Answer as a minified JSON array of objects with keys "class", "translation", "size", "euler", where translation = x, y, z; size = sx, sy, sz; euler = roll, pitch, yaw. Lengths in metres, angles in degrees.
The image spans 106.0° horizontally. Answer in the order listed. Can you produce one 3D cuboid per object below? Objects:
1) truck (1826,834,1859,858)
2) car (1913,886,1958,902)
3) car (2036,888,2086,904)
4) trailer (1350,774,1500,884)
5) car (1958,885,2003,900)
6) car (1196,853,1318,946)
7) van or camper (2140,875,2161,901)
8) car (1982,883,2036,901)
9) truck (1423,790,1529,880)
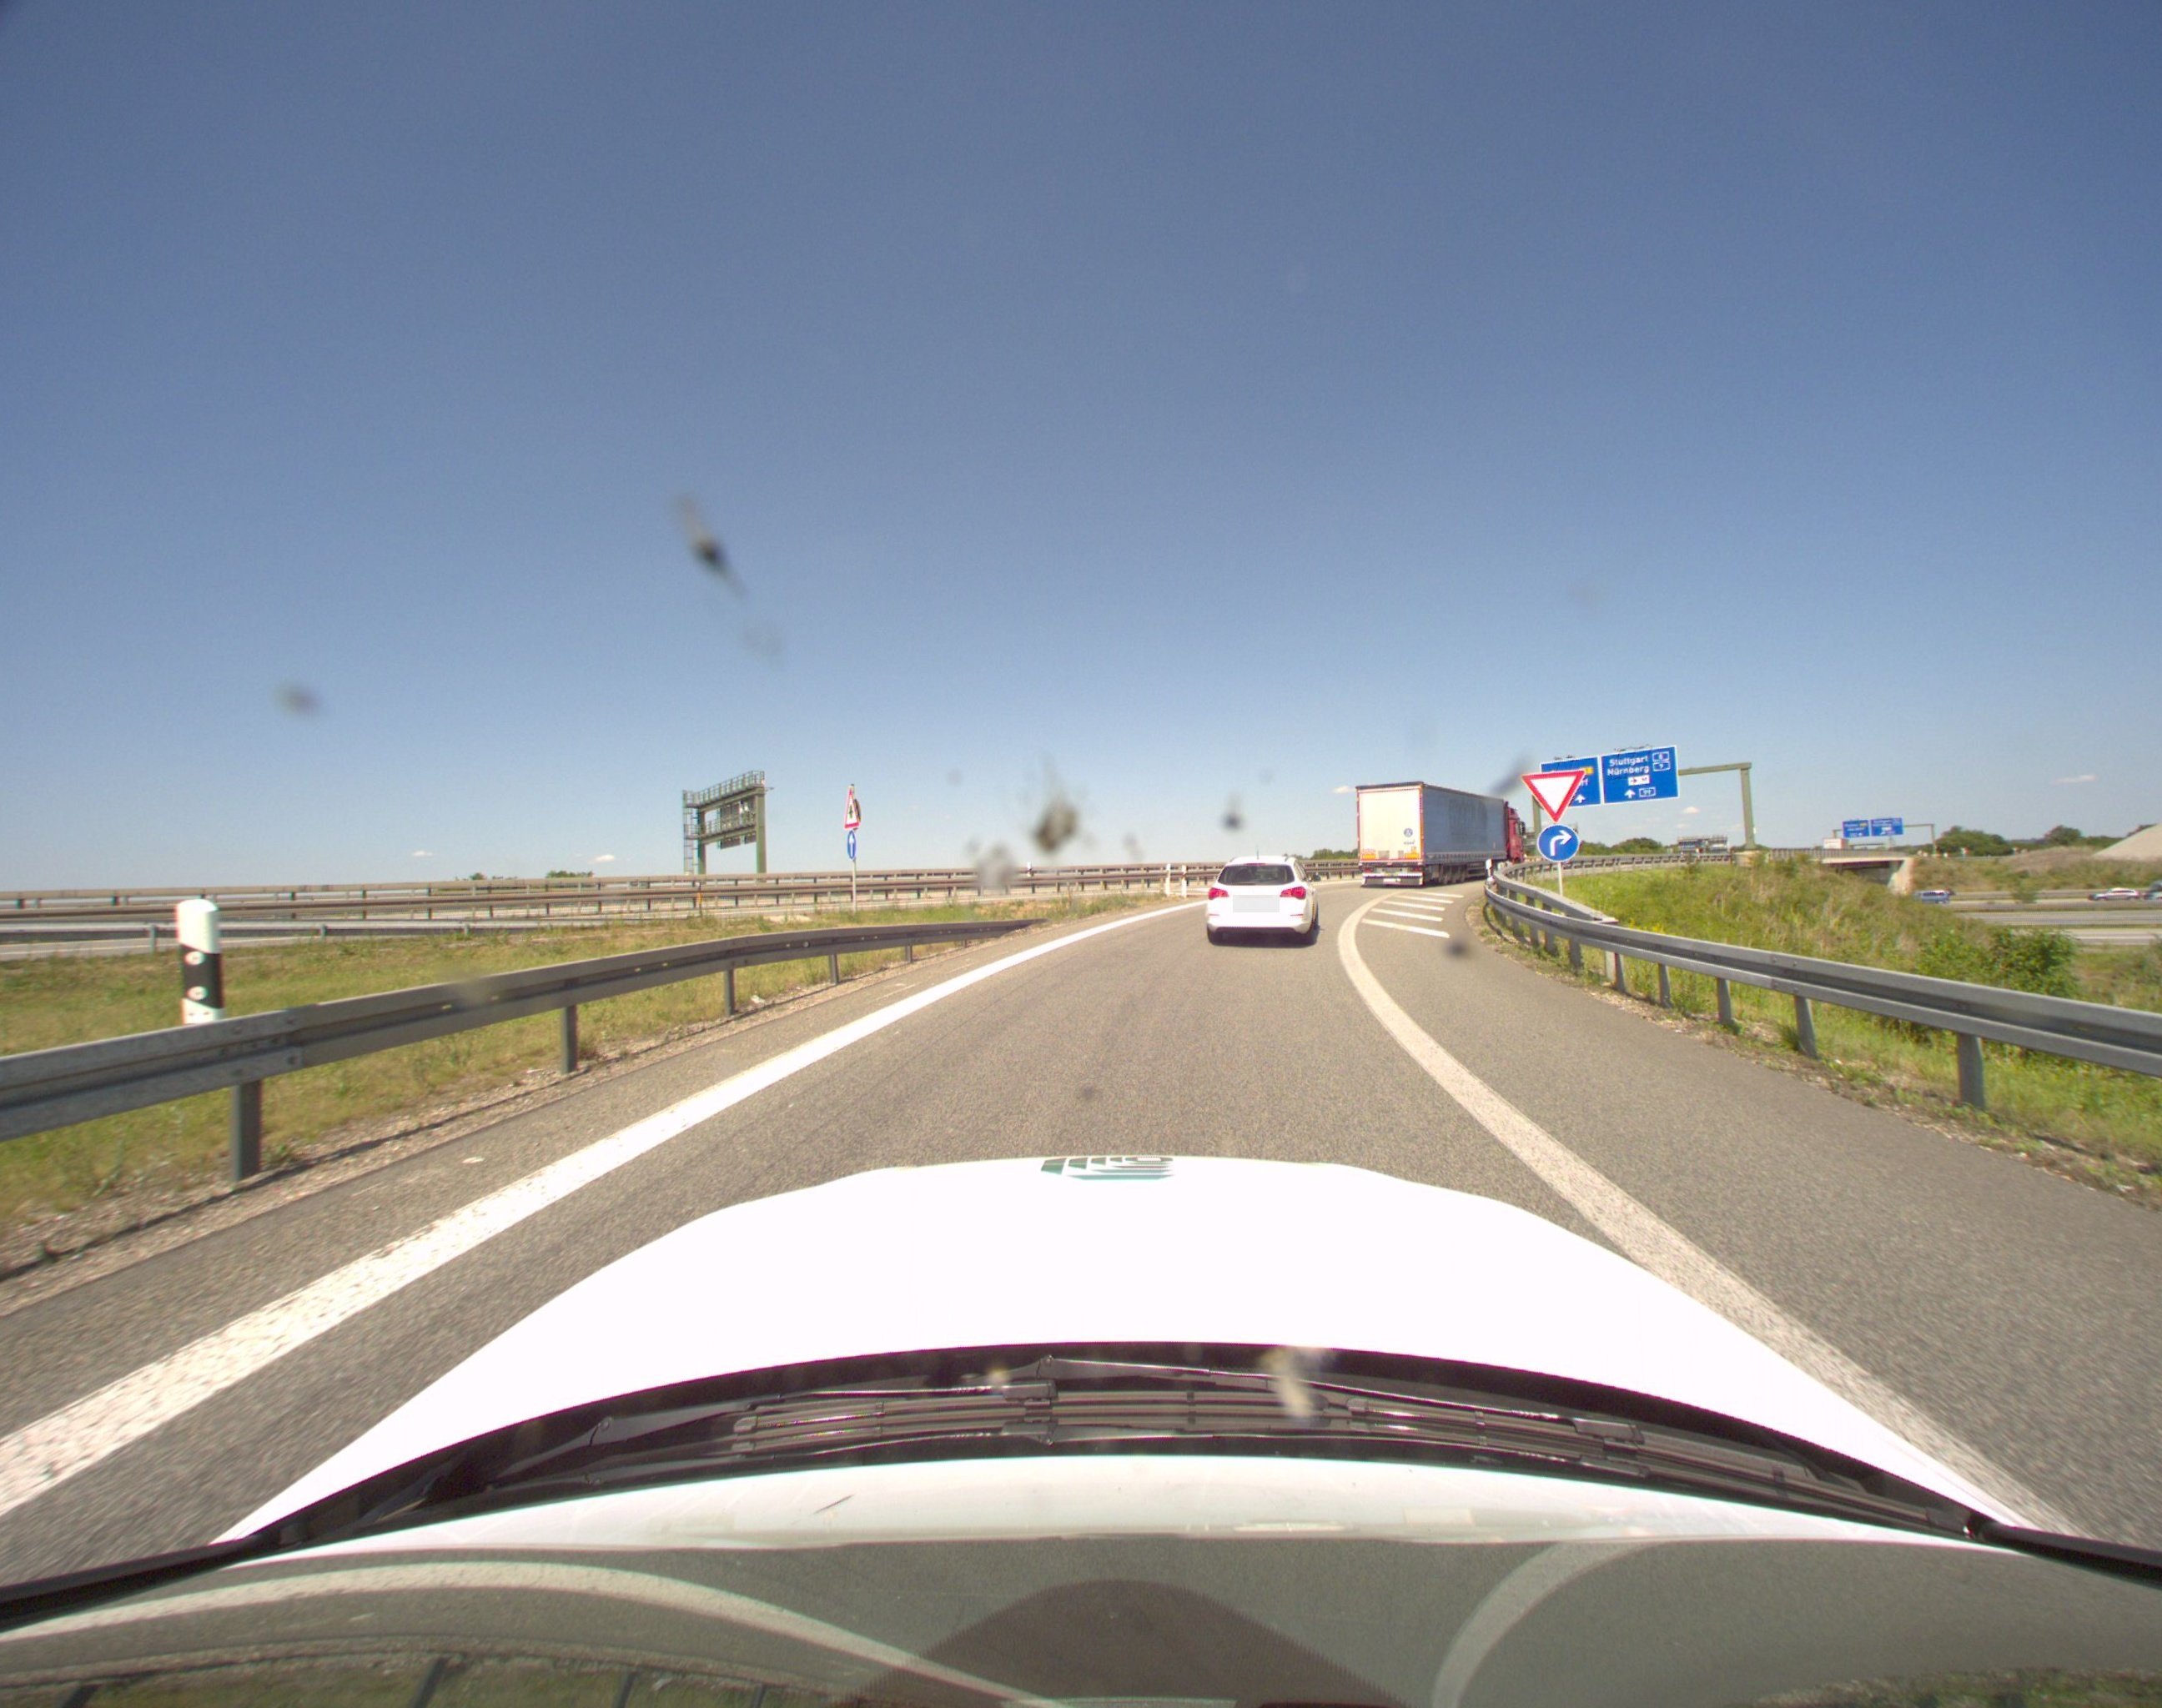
[{"class":"truck","translation":[142.985,-1.465,152.873],"size":[11.316,4.145,3.508],"euler":[1,0,-41]},{"class":"car","translation":[119.105,5.571,113.611],"size":[3.948,2.014,2.012],"euler":[-2,-6,36]},{"class":"car","translation":[133.857,5.755,111.284],"size":[3.948,2.014,1.898],"euler":[-4,-5,39]},{"class":"trailer","translation":[15.414,-0.812,35.764],"size":[2.884,4.146,11.327],"euler":[-2,-2,39]},{"class":"car","translation":[127.945,5.491,115.886],"size":[3.948,2.014,2.012],"euler":[-2,-2,40]},{"class":"car","translation":[3.383,0.771,15.038],"size":[1.840,1.443,4.390],"euler":[-2,-1,16]},{"class":"van or camper","translation":[134.173,3.950,97.666],"size":[8.054,2.996,3.002],"euler":[-5,-6,40]},{"class":"car","translation":[113.781,4.640,99.875],"size":[3.948,2.014,1.888],"euler":[-2,-6,36]},{"class":"truck","translation":[20.064,-0.802,41.176],"size":[2.885,4.146,6.967],"euler":[-2,-2,42]}]
